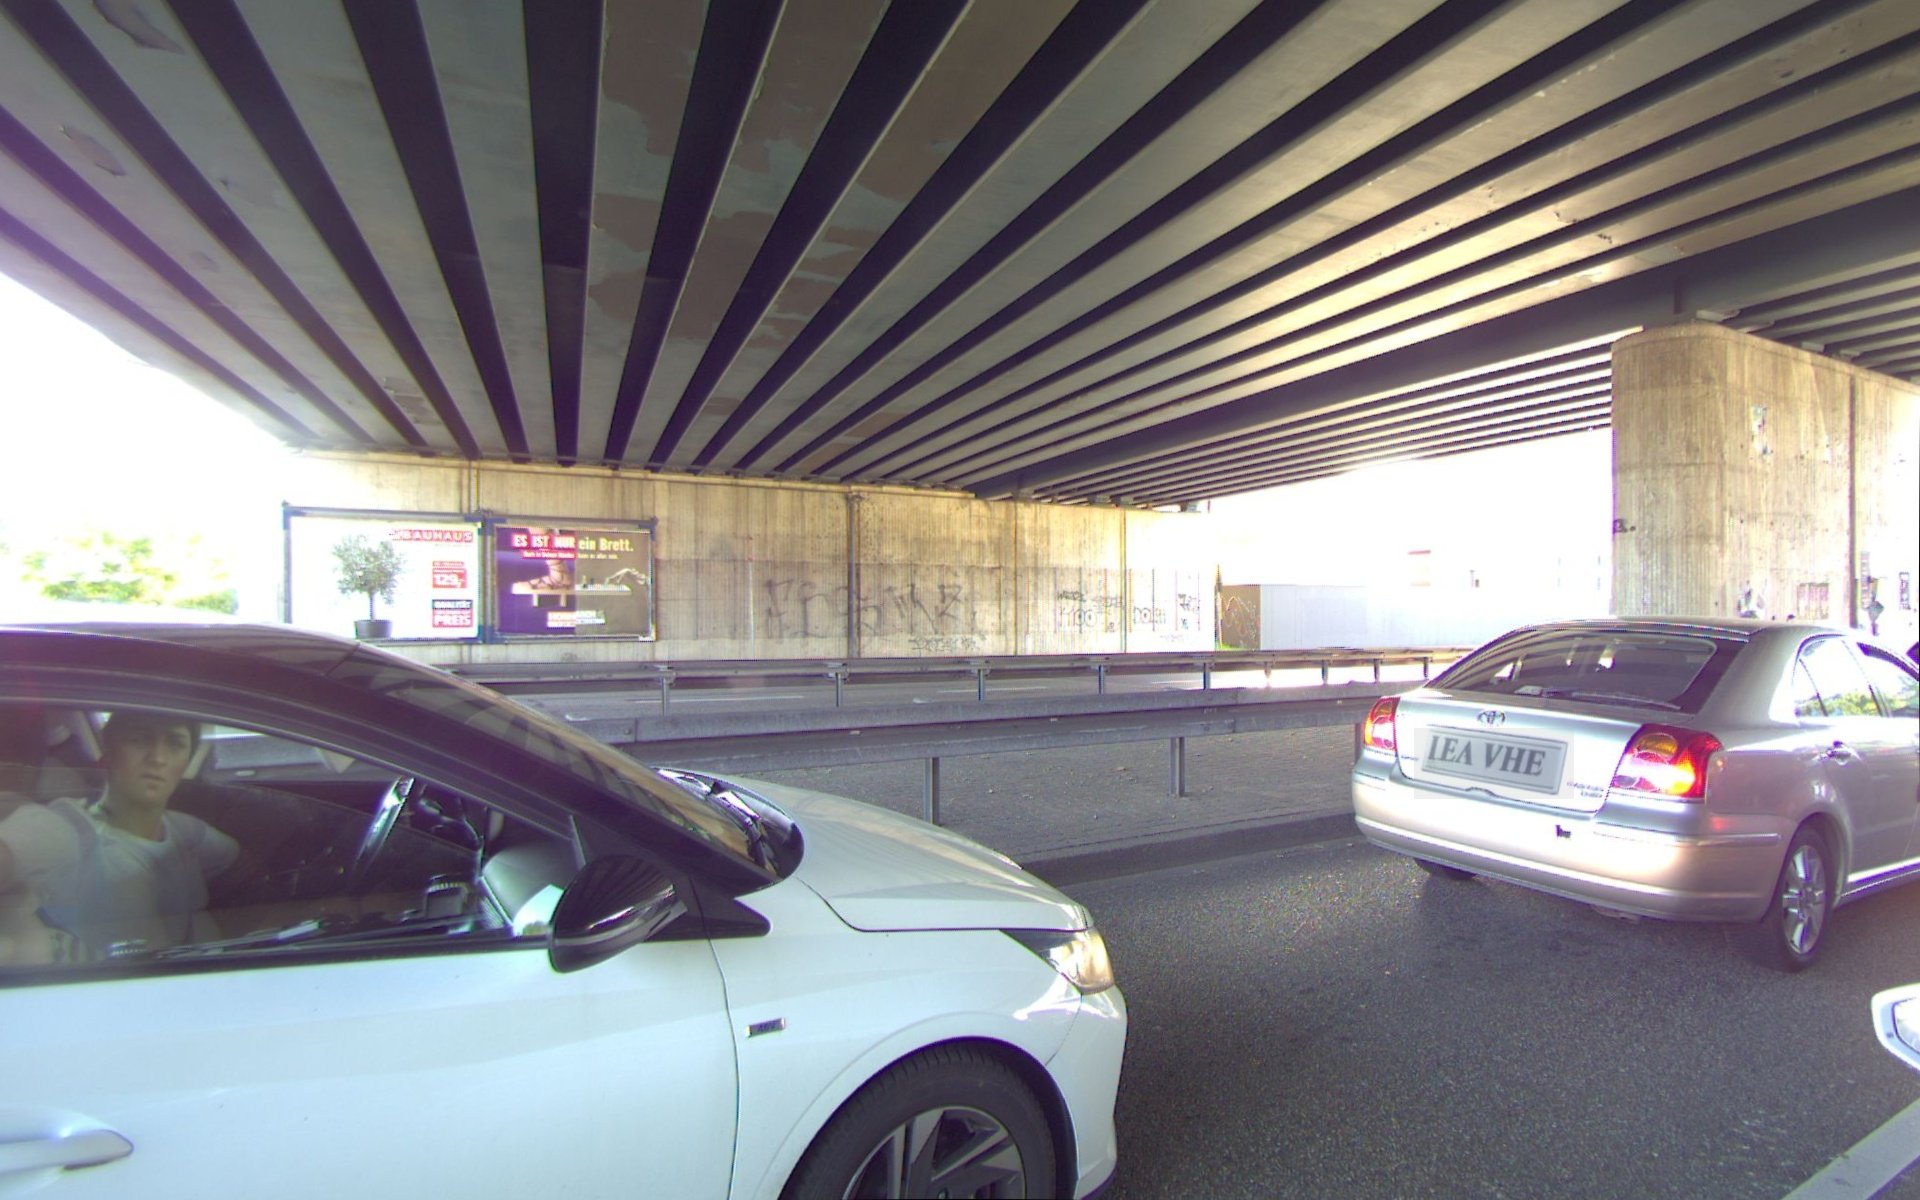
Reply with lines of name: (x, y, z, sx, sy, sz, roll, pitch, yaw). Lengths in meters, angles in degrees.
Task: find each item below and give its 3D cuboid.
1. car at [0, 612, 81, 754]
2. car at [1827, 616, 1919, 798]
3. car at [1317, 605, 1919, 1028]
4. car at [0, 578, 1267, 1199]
car: (-10.697, 0.776, 8.933, 4.141, 1.298, 1.731, 1, -3, -36)
car: (9.532, 0.887, 8.852, 3.687, 1.457, 1.804, 0, 0, -31)
car: (4.052, 0.815, 5.432, 4.270, 1.499, 1.724, 1, -1, -32)
car: (-1.433, 0.730, 1.954, 3.946, 1.499, 1.724, 1, -1, -32)
